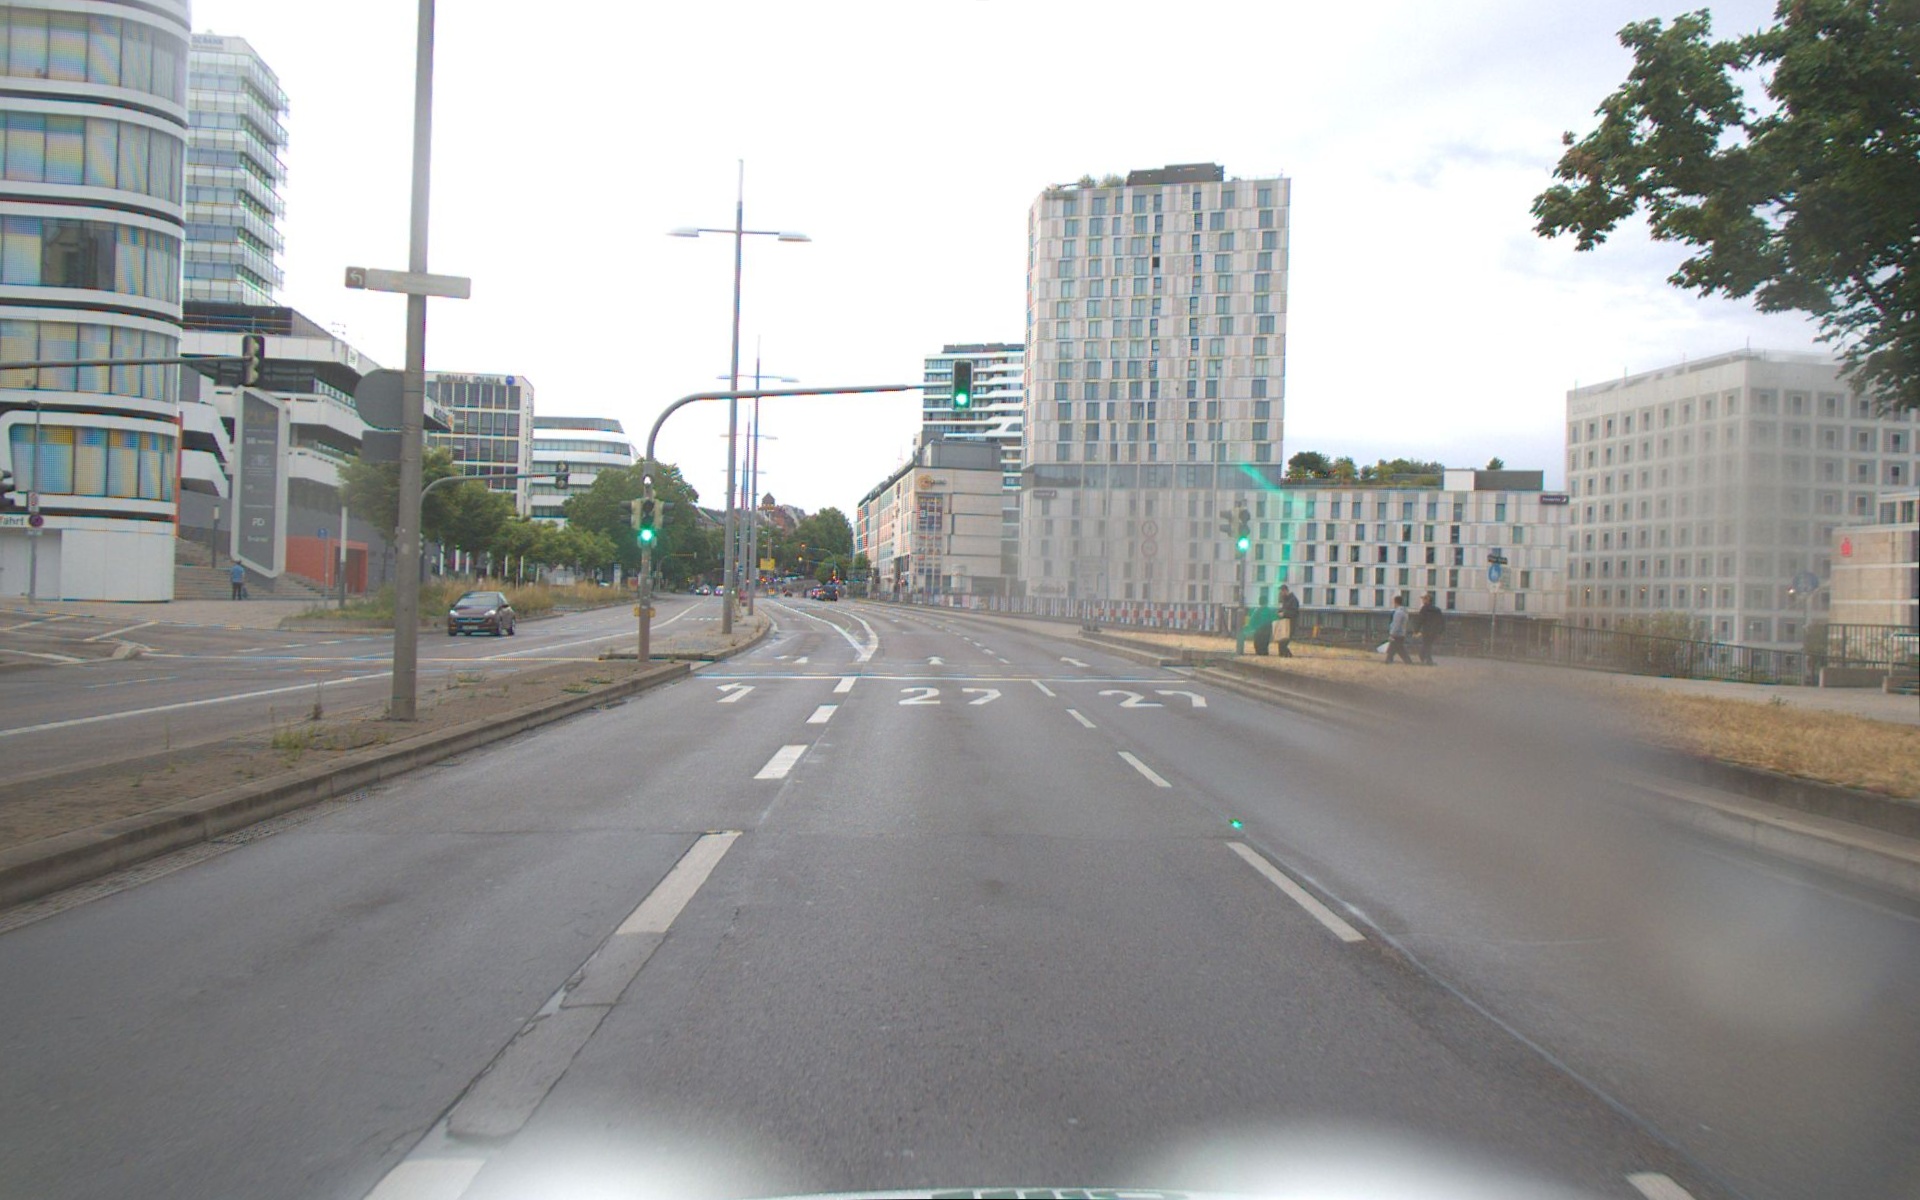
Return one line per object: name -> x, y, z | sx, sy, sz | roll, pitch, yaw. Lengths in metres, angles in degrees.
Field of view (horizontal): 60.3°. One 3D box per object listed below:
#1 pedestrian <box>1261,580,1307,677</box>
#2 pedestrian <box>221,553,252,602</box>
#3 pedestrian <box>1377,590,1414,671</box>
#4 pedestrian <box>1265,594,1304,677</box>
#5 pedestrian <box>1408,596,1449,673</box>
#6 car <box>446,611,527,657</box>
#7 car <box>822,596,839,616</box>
pedestrian -> 6.369, 0.541, 32.488 | 0.542, 1.873, 0.777 | 1, 2, 45
pedestrian -> -30.278, -0.938, 69.211 | 1.009, 2.048, 0.715 | 0, 1, -2
pedestrian -> 8.798, 0.603, 33.387 | 0.540, 1.605, 0.669 | 1, 2, 33
pedestrian -> 6.374, 0.687, 32.477 | 0.540, 1.605, 0.669 | 1, 2, 33
pedestrian -> 10.089, 0.725, 35.590 | 0.657, 1.605, 0.666 | 1, 2, 36
car -> -15.748, 1.109, 55.170 | 1.713, 1.432, 3.723 | 1, 0, -2
car -> -16.353, 0.757, 208.881 | 1.953, 2.384, 3.998 | 1, 0, -2
